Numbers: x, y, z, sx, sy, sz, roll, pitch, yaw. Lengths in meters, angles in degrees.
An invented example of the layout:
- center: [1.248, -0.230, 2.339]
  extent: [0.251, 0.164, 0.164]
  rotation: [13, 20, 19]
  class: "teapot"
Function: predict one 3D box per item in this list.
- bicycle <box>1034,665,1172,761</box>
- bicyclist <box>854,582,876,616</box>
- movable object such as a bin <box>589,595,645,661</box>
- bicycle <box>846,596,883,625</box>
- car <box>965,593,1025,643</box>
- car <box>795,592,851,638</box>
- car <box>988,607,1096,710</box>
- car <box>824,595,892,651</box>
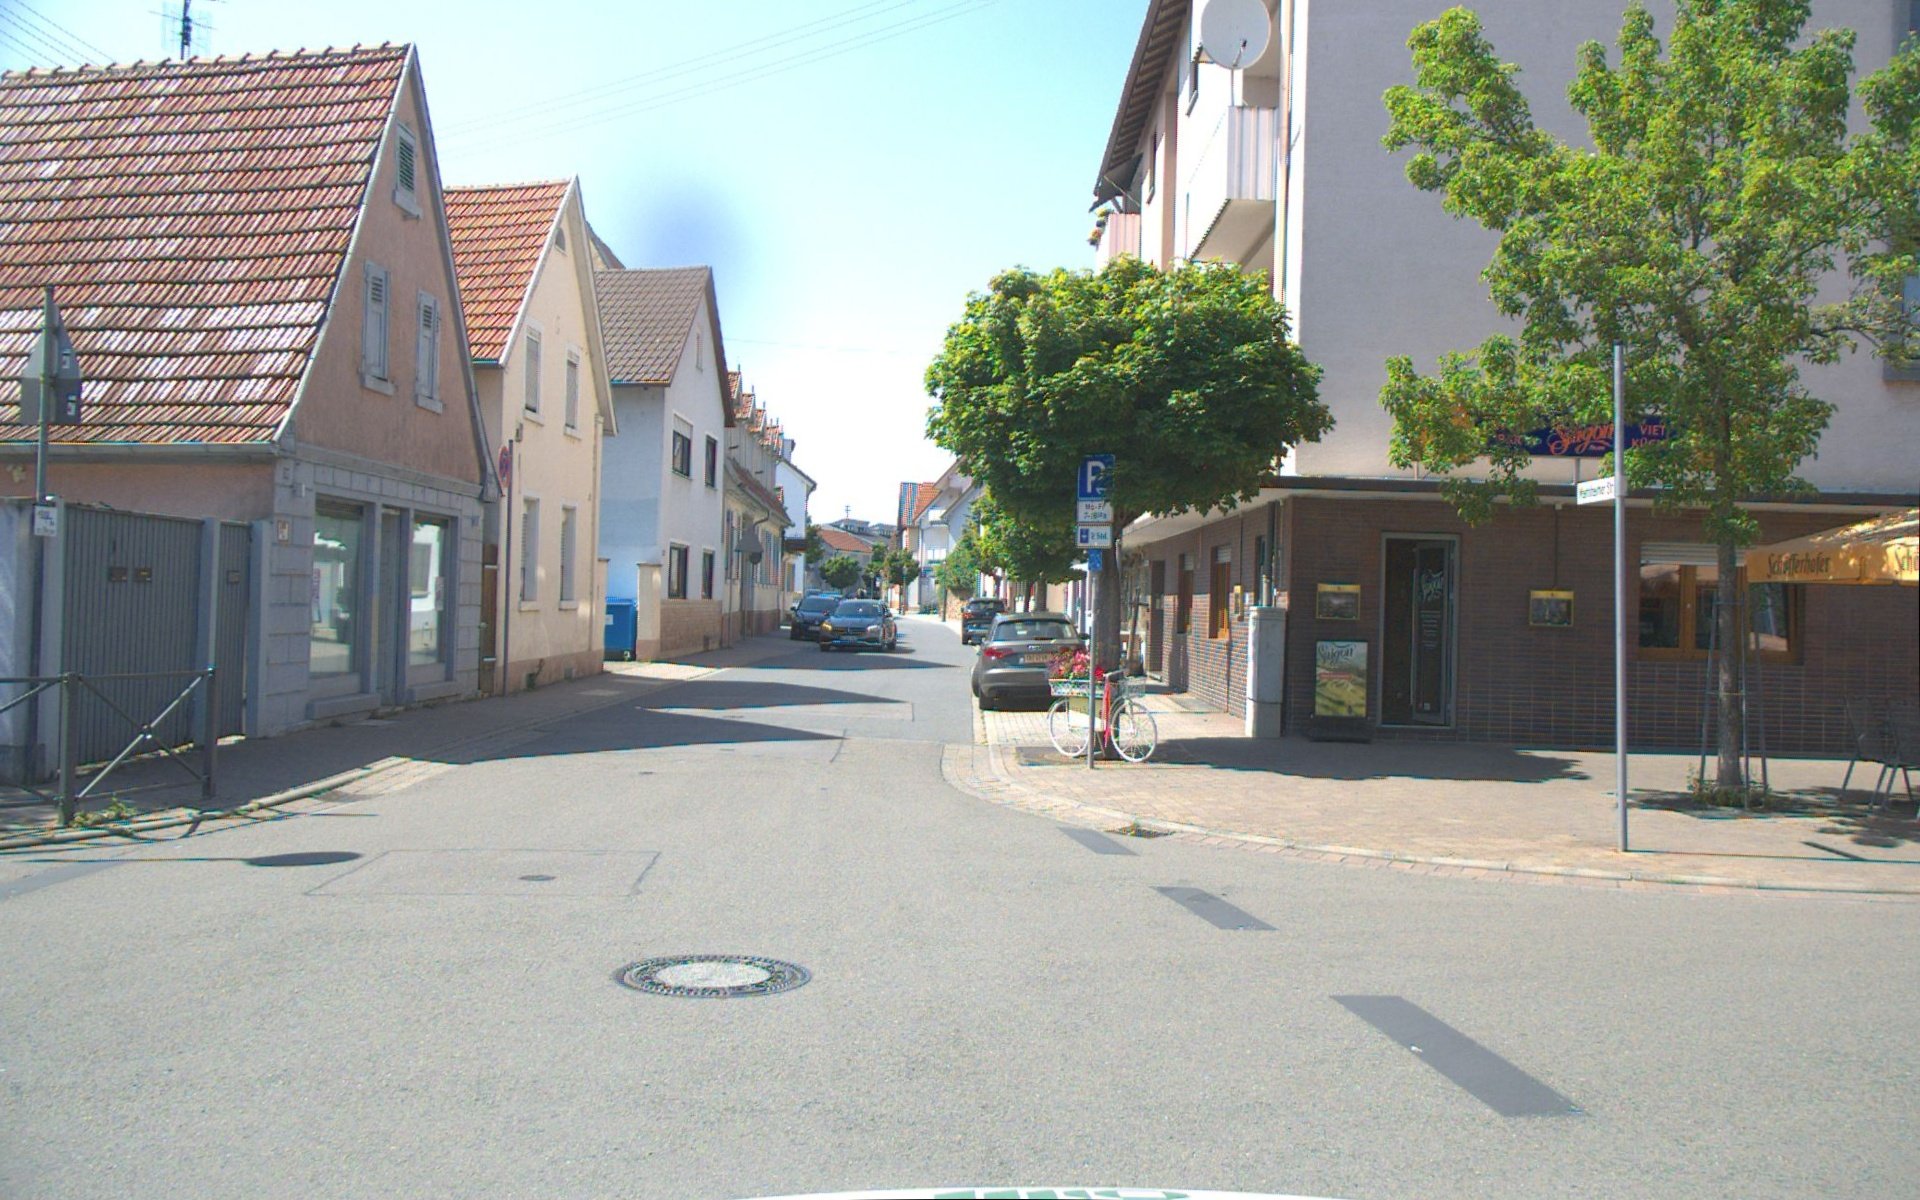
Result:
- center: [1.476, 1.154, 17.158]
  extent: [1.386, 0.913, 0.463]
  rotation: [0, 0, 37]
  class: "bicycle"
- center: [-4.710, -0.064, 82.332]
  extent: [1.026, 1.666, 1.127]
  rotation: [1, 0, -6]
  class: "bicyclist"
- center: [-7.321, 0.595, 35.294]
  extent: [1.078, 1.389, 0.390]
  rotation: [1, 0, 3]
  class: "movable object such as a bin"
- center: [-4.782, 0.500, 82.457]
  extent: [1.592, 1.394, 3.920]
  rotation: [1, 0, -6]
  class: "bicycle"
- center: [1.226, 0.619, 59.650]
  extent: [2.001, 1.718, 4.841]
  rotation: [1, 0, 0]
  class: "car"
- center: [-4.659, 0.504, 56.736]
  extent: [1.629, 1.502, 4.133]
  rotation: [1, 0, -1]
  class: "car"
- center: [1.238, 0.856, 25.783]
  extent: [1.543, 1.479, 3.486]
  rotation: [1, 0, 1]
  class: "car"
- center: [-2.964, 0.716, 48.849]
  extent: [1.871, 1.507, 4.841]
  rotation: [1, -2, -2]
  class: "car"
